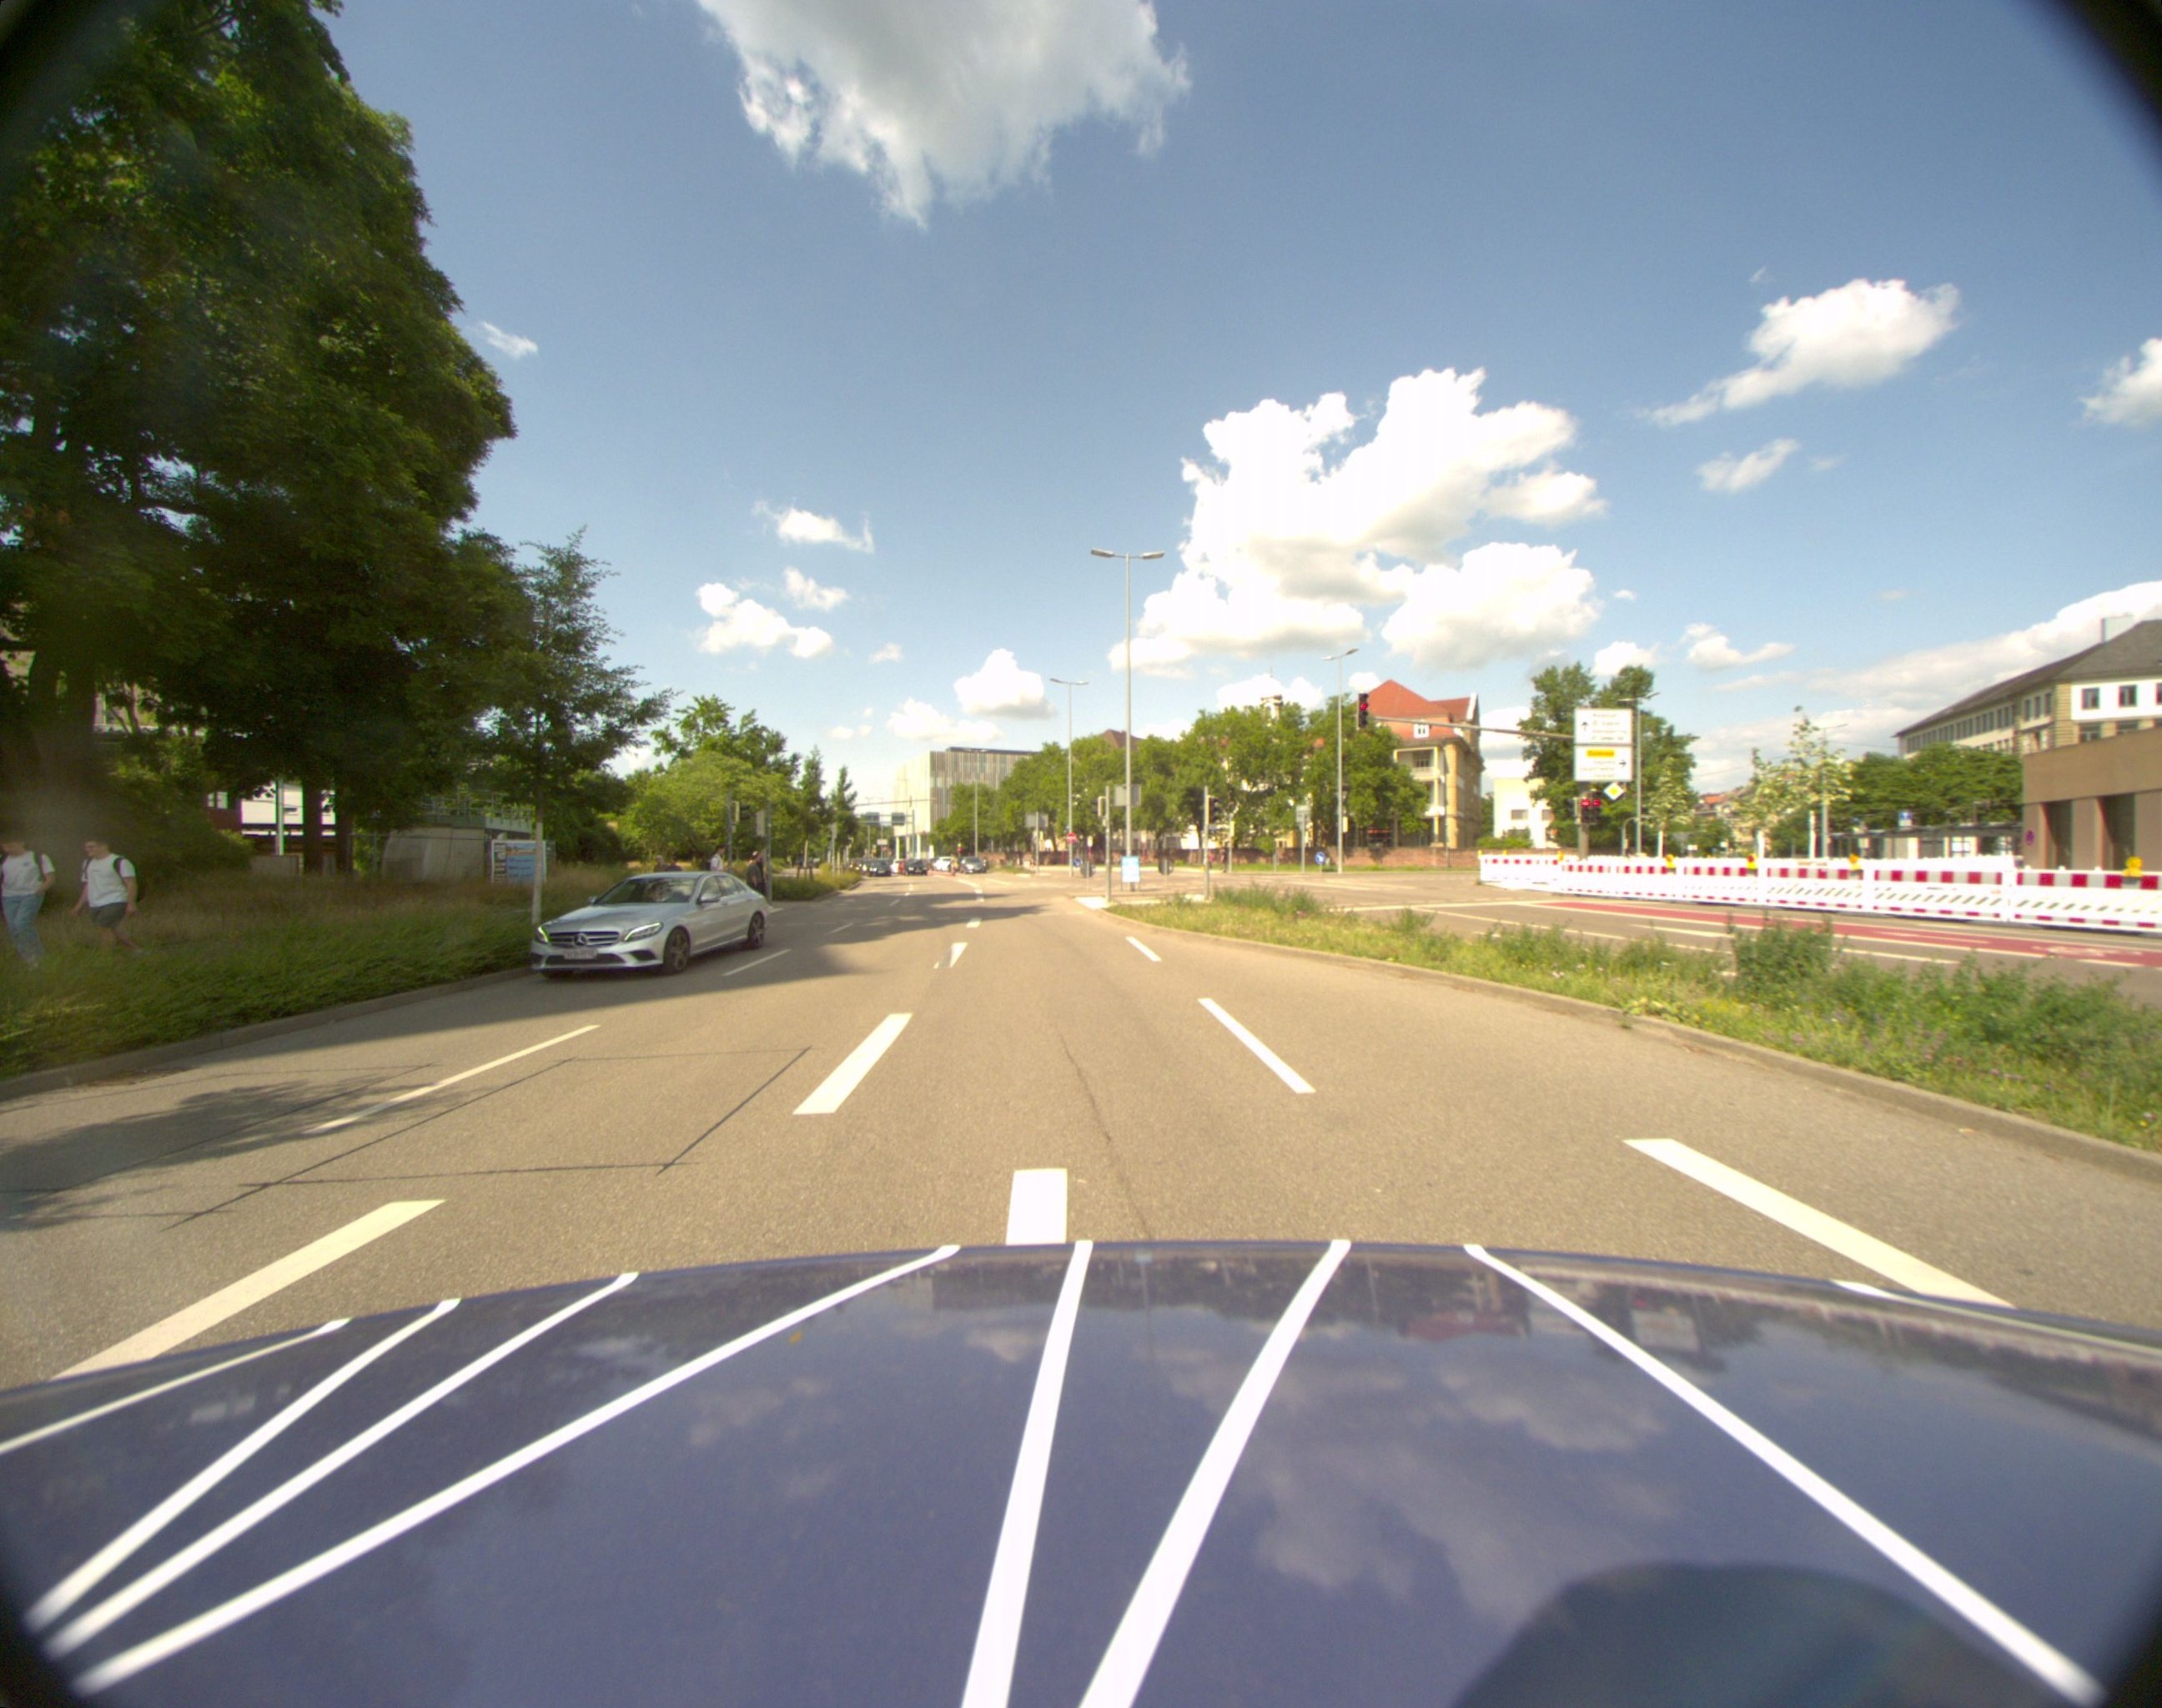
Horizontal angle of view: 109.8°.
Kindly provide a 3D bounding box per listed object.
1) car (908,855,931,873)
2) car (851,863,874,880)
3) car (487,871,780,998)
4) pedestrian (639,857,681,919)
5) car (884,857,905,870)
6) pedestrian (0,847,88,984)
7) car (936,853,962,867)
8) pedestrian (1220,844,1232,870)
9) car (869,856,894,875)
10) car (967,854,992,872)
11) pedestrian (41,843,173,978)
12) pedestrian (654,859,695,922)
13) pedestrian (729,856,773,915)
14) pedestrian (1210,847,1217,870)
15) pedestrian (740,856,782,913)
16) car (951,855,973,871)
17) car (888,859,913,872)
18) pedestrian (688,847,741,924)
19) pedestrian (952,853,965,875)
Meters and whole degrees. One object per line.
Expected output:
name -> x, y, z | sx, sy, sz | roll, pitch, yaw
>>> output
car -> -13.690, 0.833, 64.245 | 1.827, 1.454, 3.995 | -1, 0, -13
car -> -19.749, 1.563, 68.799 | 1.827, 1.454, 3.995 | -1, 0, -13
car -> -6.661, 1.080, 12.104 | 1.936, 1.447, 4.758 | -2, 0, -2
pedestrian -> -12.239, 0.975, 22.109 | 0.768, 1.725, 0.718 | -2, 1, -8
car -> -18.410, 0.926, 75.112 | 1.911, 1.127, 4.096 | -1, 2, -13
pedestrian -> -13.828, 0.760, 9.902 | 0.616, 1.690, 0.889 | 2, 1, -5
car -> -13.683, 0.633, 78.750 | 1.781, 1.346, 3.992 | -2, 1, -23
pedestrian -> 11.069, 0.217, 57.937 | 0.582, 1.982, 0.621 | -3, 1, -27
car -> -16.319, 0.937, 62.404 | 1.827, 1.454, 3.995 | -1, 0, -13
car -> -8.757, 0.736, 65.240 | 2.000, 1.368, 4.265 | -2, 1, -10
pedestrian -> -12.890, 0.715, 10.084 | 0.616, 1.690, 0.889 | 2, 1, -5
pedestrian -> -11.567, 1.025, 21.641 | 0.768, 1.725, 0.718 | -2, 1, -8
pedestrian -> -10.052, 0.939, 23.164 | 0.928, 1.725, 0.768 | -2, 1, -2
pedestrian -> 10.362, 0.339, 59.409 | 0.369, 1.722, 0.451 | -2, 1, 15
pedestrian -> -10.087, 0.945, 23.940 | 0.928, 1.725, 0.768 | -2, 1, -2
car -> -11.267, 0.840, 71.966 | 1.734, 1.327, 3.784 | -2, 1, -13
car -> -16.341, 1.053, 68.767 | 1.600, 1.127, 3.622 | -1, 0, -23
pedestrian -> -9.907, 0.838, 20.578 | 0.965, 2.002, 0.768 | -2, 1, -2
pedestrian -> -9.678, 0.760, 60.100 | 0.739, 1.704, 0.874 | -3, 1, -22
